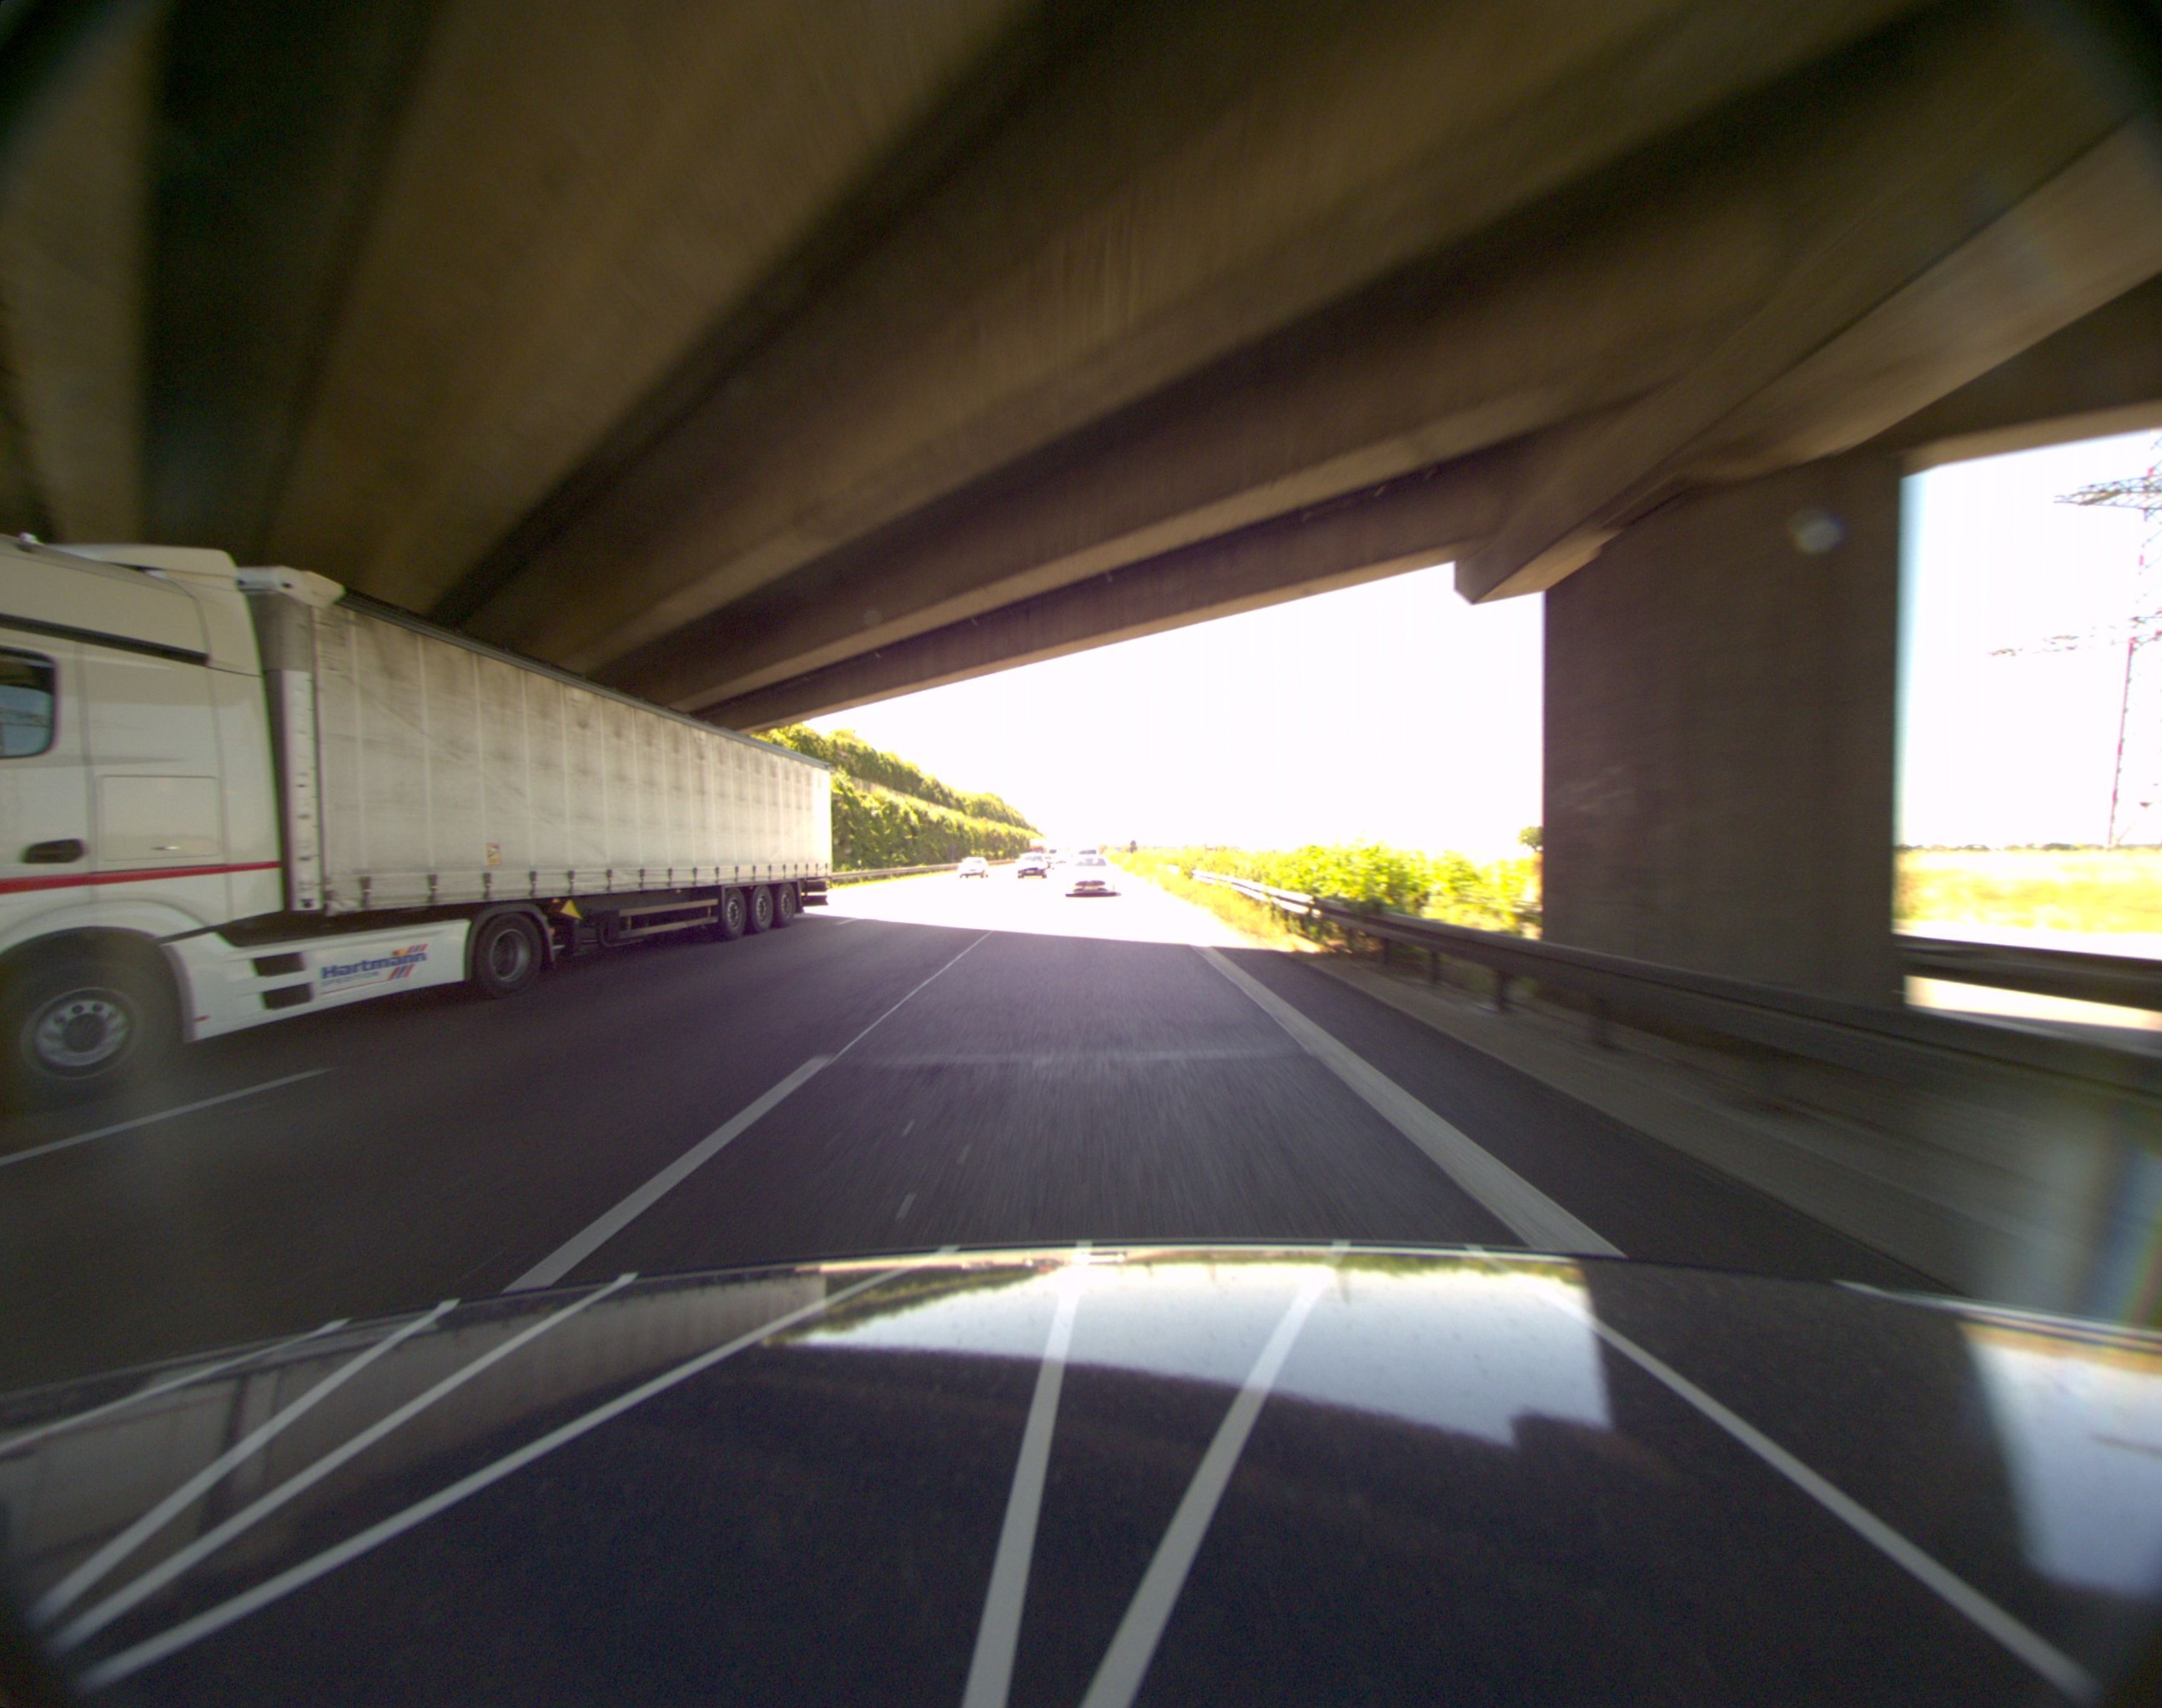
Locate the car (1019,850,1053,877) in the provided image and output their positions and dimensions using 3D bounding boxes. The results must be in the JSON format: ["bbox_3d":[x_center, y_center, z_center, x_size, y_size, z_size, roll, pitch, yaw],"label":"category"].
[{"bbox_3d":[-2.949,0.607,50.448,1.984,1.671,4.558,-1,0,0],"label":"car"}]

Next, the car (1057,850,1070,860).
[{"bbox_3d":[-2.682,0.153,118.830,1.984,1.525,4.137,0,0,0],"label":"car"}]

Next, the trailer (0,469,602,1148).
[{"bbox_3d":[-7.847,-0.276,6.821,2.720,4.079,6.788,-1,0,0],"label":"trailer"}]

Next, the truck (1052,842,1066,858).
[{"bbox_3d":[-5.606,-1.020,195.298,3.507,3.890,9.646,0,1,-1],"label":"truck"}]

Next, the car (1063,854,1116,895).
[{"bbox_3d":[0.333,0.780,31.500,1.984,1.525,4.558,-2,0,0],"label":"car"}]

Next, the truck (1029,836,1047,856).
[{"bbox_3d":[-7.289,-1.323,129.042,2.581,3.204,5.712,-2,1,0],"label":"truck"}]

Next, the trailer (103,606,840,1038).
[{"bbox_3d":[-7.859,-0.327,13.813,2.735,4.079,13.188,-1,0,0],"label":"trailer"}]

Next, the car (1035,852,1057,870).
[{"bbox_3d":[-3.445,0.643,75.347,1.984,1.671,4.558,0,0,0],"label":"car"}]

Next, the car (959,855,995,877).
[{"bbox_3d":[-7.287,0.810,53.581,1.840,1.403,4.558,-1,0,0],"label":"car"}]

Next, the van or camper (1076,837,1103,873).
[{"bbox_3d":[0.726,0.086,61.213,1.998,2.740,5.410,-1,0,2],"label":"van or camper"}]
